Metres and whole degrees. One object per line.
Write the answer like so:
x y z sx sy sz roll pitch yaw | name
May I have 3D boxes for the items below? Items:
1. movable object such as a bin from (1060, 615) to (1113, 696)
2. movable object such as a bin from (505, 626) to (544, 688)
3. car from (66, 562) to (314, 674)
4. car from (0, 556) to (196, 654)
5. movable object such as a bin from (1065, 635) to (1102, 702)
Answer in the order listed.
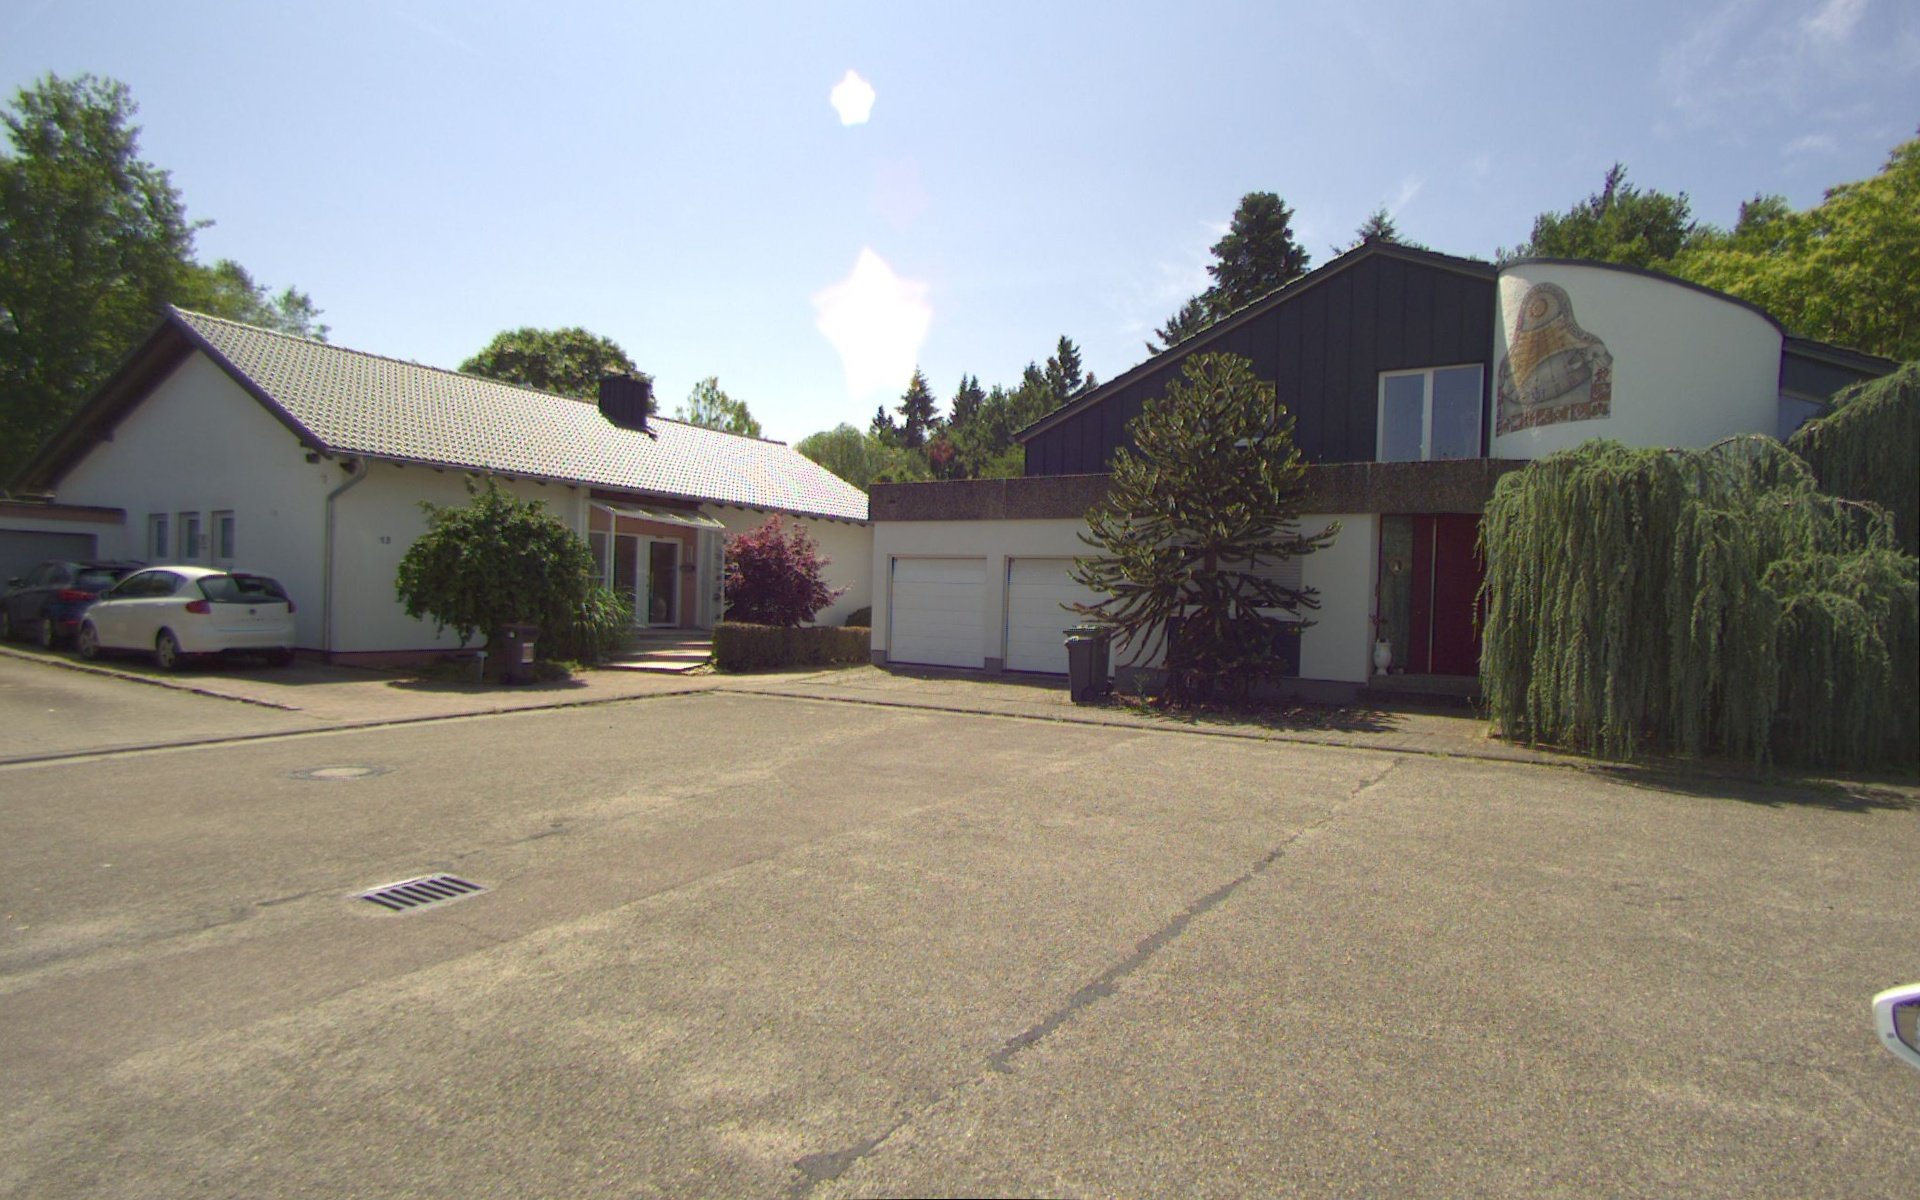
1.997 0.865 15.799 0.623 1.219 0.550 2 0 32 | movable object such as a bin
-6.647 0.860 15.336 0.383 0.903 0.374 2 1 31 | movable object such as a bin
-12.593 0.243 16.392 3.927 1.589 1.749 2 0 28 | car
-16.429 0.043 18.964 3.930 1.629 1.924 3 1 32 | car
1.837 1.020 15.018 0.513 0.962 0.389 2 0 5 | movable object such as a bin
